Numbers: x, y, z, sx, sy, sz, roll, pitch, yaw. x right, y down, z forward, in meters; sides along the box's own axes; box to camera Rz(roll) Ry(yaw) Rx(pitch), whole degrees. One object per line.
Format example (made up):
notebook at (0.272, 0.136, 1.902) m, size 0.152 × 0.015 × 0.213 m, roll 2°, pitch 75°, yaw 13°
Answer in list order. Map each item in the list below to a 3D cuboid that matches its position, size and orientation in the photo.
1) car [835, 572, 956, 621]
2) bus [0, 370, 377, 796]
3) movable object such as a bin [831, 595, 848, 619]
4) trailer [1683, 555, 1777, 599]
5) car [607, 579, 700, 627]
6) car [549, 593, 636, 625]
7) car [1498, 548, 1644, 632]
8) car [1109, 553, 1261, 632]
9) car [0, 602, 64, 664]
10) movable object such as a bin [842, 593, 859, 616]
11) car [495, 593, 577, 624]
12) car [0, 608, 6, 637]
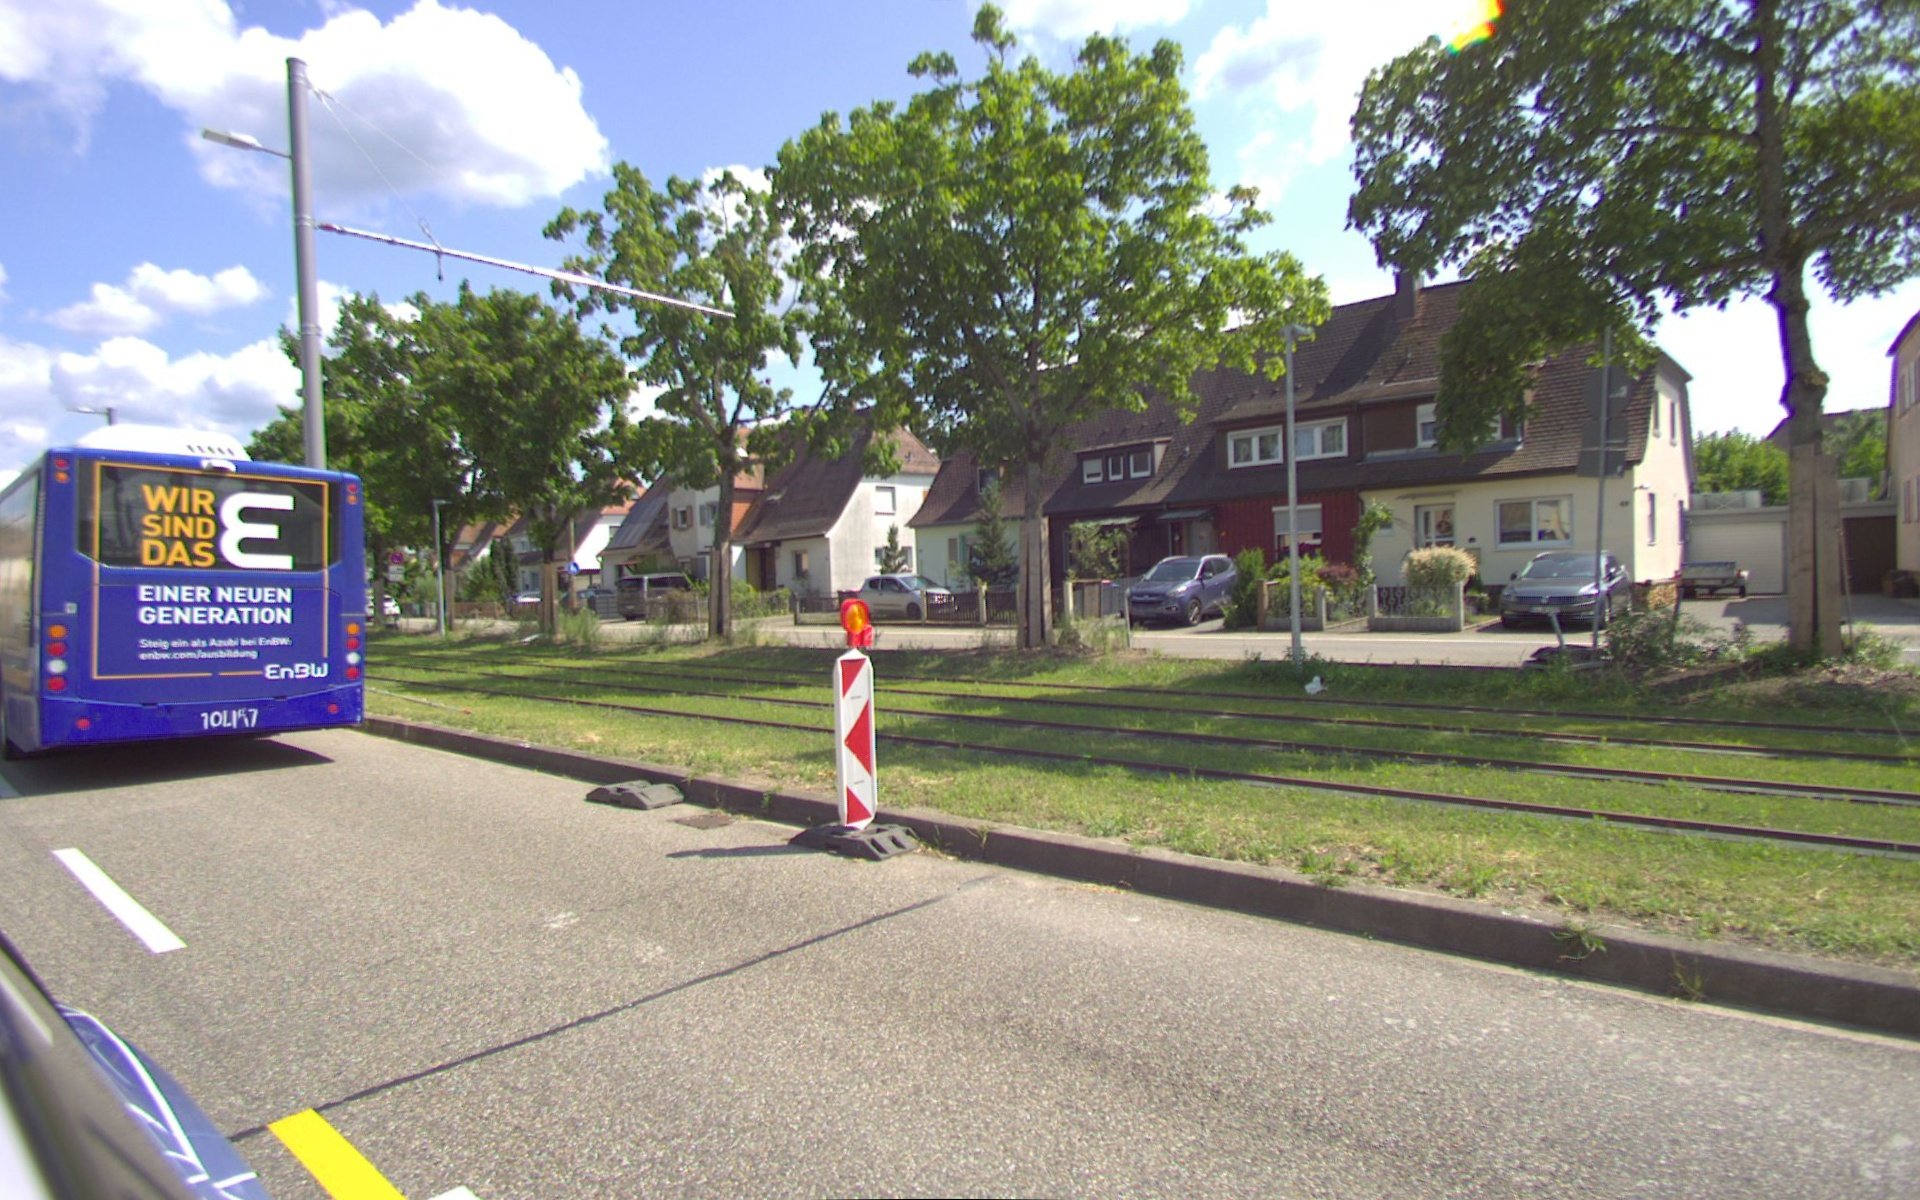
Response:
car at (-2.233, -0.090, 34.298) m, size 4.042 × 1.529 × 1.710 m, roll -1°, pitch 1°, yaw 41°
bus at (-11.337, -0.024, 13.166) m, size 12.241 × 3.438 × 2.609 m, roll -2°, pitch -1°, yaw 41°
movable object such as a bin at (-5.085, 0.306, 42.721) m, size 0.446 × 0.984 × 0.500 m, roll -3°, pitch 1°, yaw -44°
trailer at (20.619, -0.636, 27.060) m, size 1.868 × 1.033 × 3.948 m, roll -1°, pitch 1°, yaw 39°
car at (-14.045, 0.124, 46.532) m, size 1.932 × 1.910 × 3.863 m, roll -2°, pitch 3°, yaw 26°
car at (-18.855, 0.468, 52.014) m, size 3.839 × 1.468 × 1.736 m, roll -3°, pitch 1°, yaw -45°
car at (12.588, -0.252, 20.708) m, size 1.924 × 1.535 × 4.426 m, roll -1°, pitch 1°, yaw 39°
car at (5.943, -0.239, 26.369) m, size 2.063 × 1.850 × 4.426 m, roll -1°, pitch 1°, yaw 39°
car at (-32.826, 1.127, 35.326) m, size 5.295 × 1.981 × 1.933 m, roll -1°, pitch 0°, yaw 45°
movable object such as a bin at (-4.648, 0.194, 42.949) m, size 0.446 × 0.984 × 0.500 m, roll -3°, pitch 1°, yaw -44°
car at (-24.523, 0.489, 58.646) m, size 3.942 × 1.541 × 1.875 m, roll -4°, pitch 2°, yaw -45°
car at (-73.167, 1.717, 75.229) m, size 2.246 × 2.199 × 6.384 m, roll -2°, pitch 1°, yaw -34°
